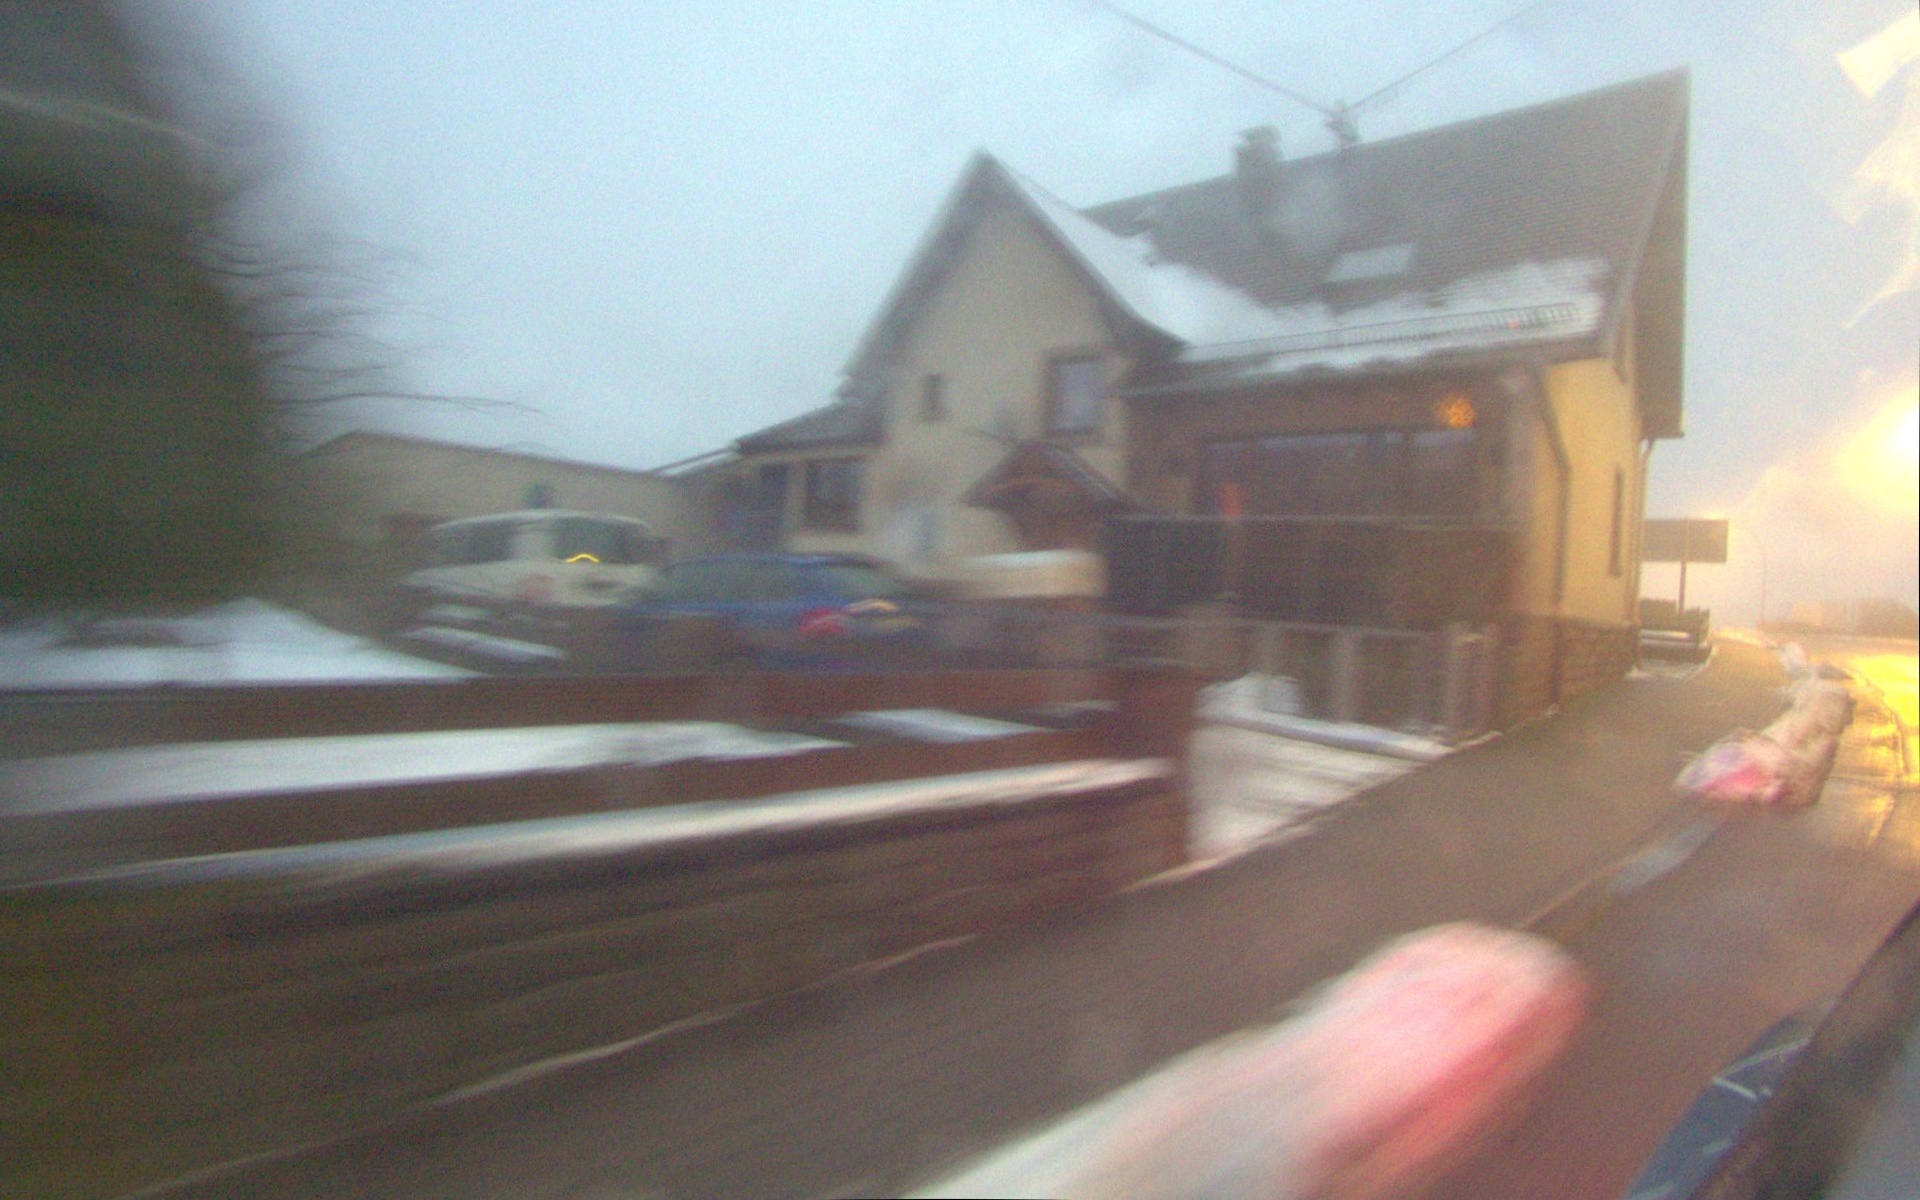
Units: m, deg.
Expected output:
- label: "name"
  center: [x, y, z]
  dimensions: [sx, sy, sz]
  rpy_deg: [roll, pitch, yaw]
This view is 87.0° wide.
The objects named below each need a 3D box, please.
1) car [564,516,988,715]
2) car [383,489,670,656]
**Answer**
- label: "car"
  center: [-2.044, 0.103, 10.417]
  dimensions: [4.442, 1.607, 1.971]
  rpy_deg: [0, 1, 41]
- label: "car"
  center: [-6.115, -0.347, 14.048]
  dimensions: [4.366, 1.950, 1.971]
  rpy_deg: [0, 1, 41]
